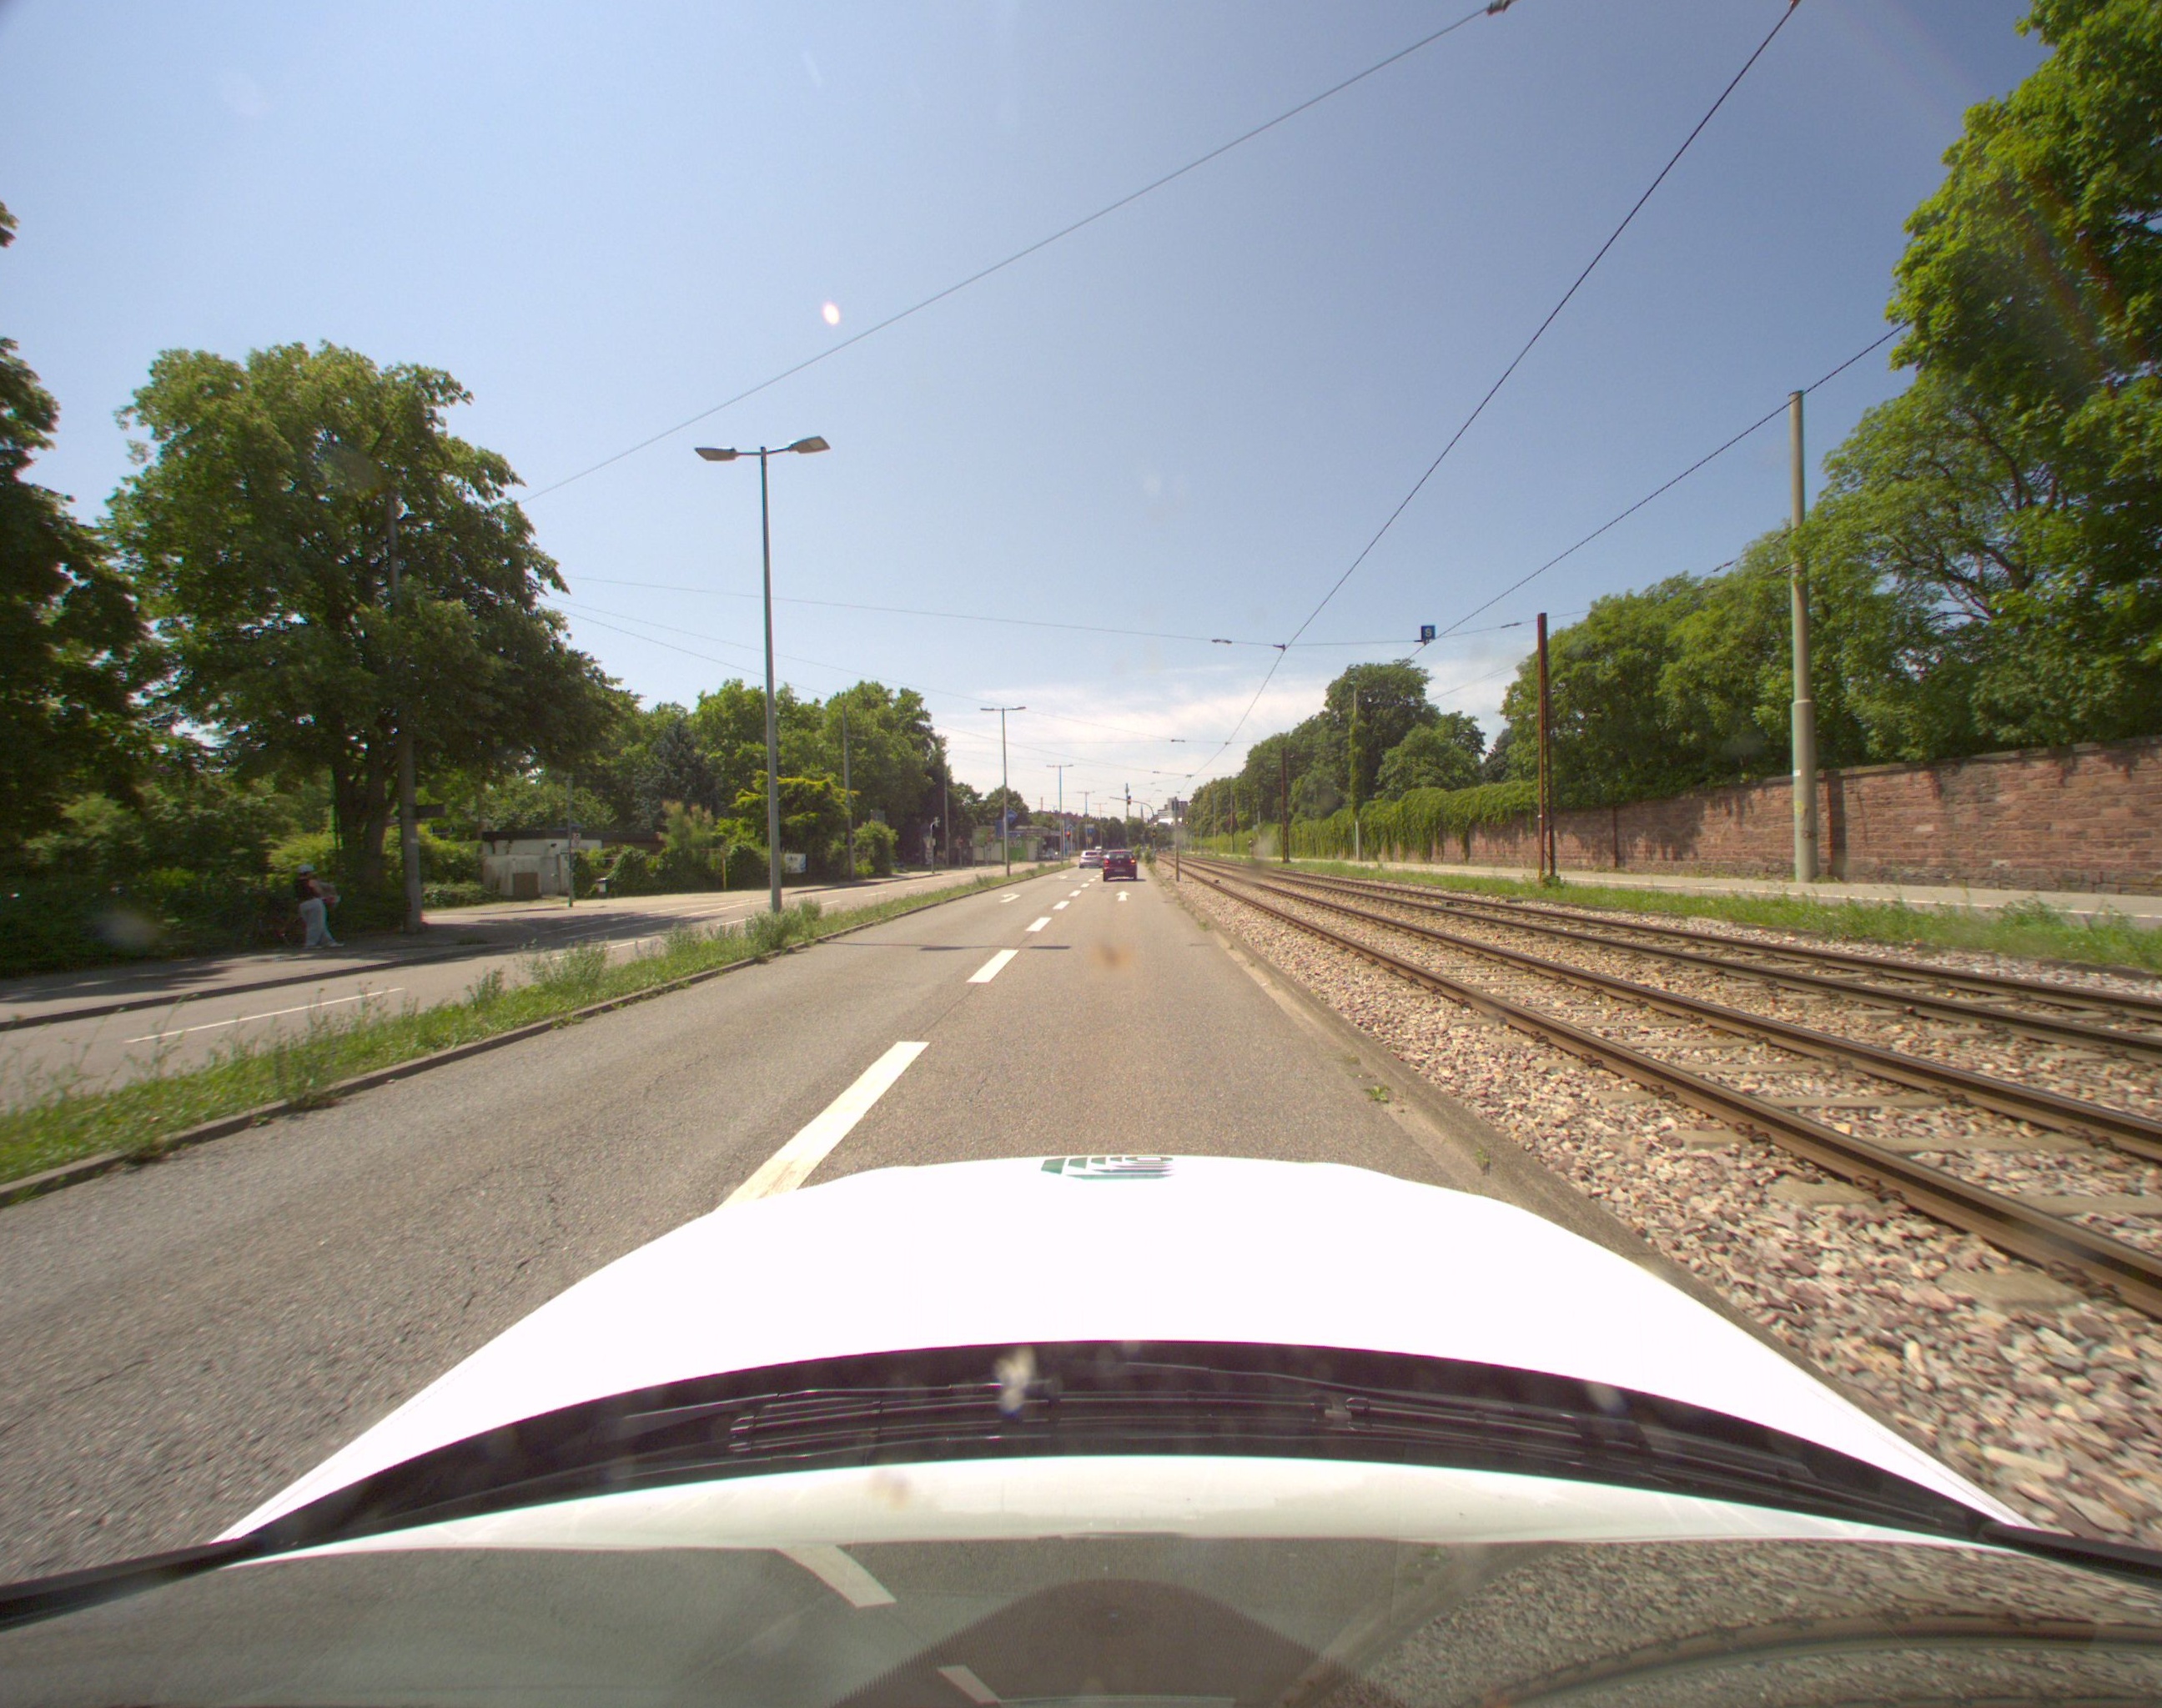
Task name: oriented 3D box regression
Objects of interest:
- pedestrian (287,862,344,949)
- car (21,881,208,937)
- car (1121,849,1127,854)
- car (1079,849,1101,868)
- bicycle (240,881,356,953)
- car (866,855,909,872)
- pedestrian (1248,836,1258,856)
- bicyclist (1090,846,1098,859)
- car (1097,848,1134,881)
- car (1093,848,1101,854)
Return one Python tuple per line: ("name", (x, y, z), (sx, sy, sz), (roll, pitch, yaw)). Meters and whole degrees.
("pedestrian", (-15.637, 1.037, 16.642), (0.545, 1.718, 0.606), (-2, 0, 16))
("car", (-32.992, 1.857, 27.894), (3.973, 1.613, 2.001), (-2, 0, 1))
("car", (13.737, -0.823, 258.354), (1.729, 1.418, 4.006), (-2, 0, 5))
("car", (0.712, 0.381, 67.550), (1.698, 1.480, 3.714), (-2, 0, -1))
("bicycle", (-16.186, 1.277, 16.878), (0.641, 1.327, 1.580), (-2, 0, 16))
("car", (-20.070, 1.016, 84.502), (3.958, 1.579, 1.779), (-2, 0, 14))
("pedestrian", (15.170, -0.670, 71.912), (0.659, 1.726, 0.817), (-2, 0, 3))
("bicyclist", (1.651, -0.175, 105.349), (0.943, 1.593, 1.085), (0, -1, -6))
("car", (1.697, 0.473, 39.219), (1.695, 1.477, 3.720), (0, 0, 3))
("car", (4.421, -0.748, 225.900), (1.988, 1.596, 3.998), (-1, -1, -1))
